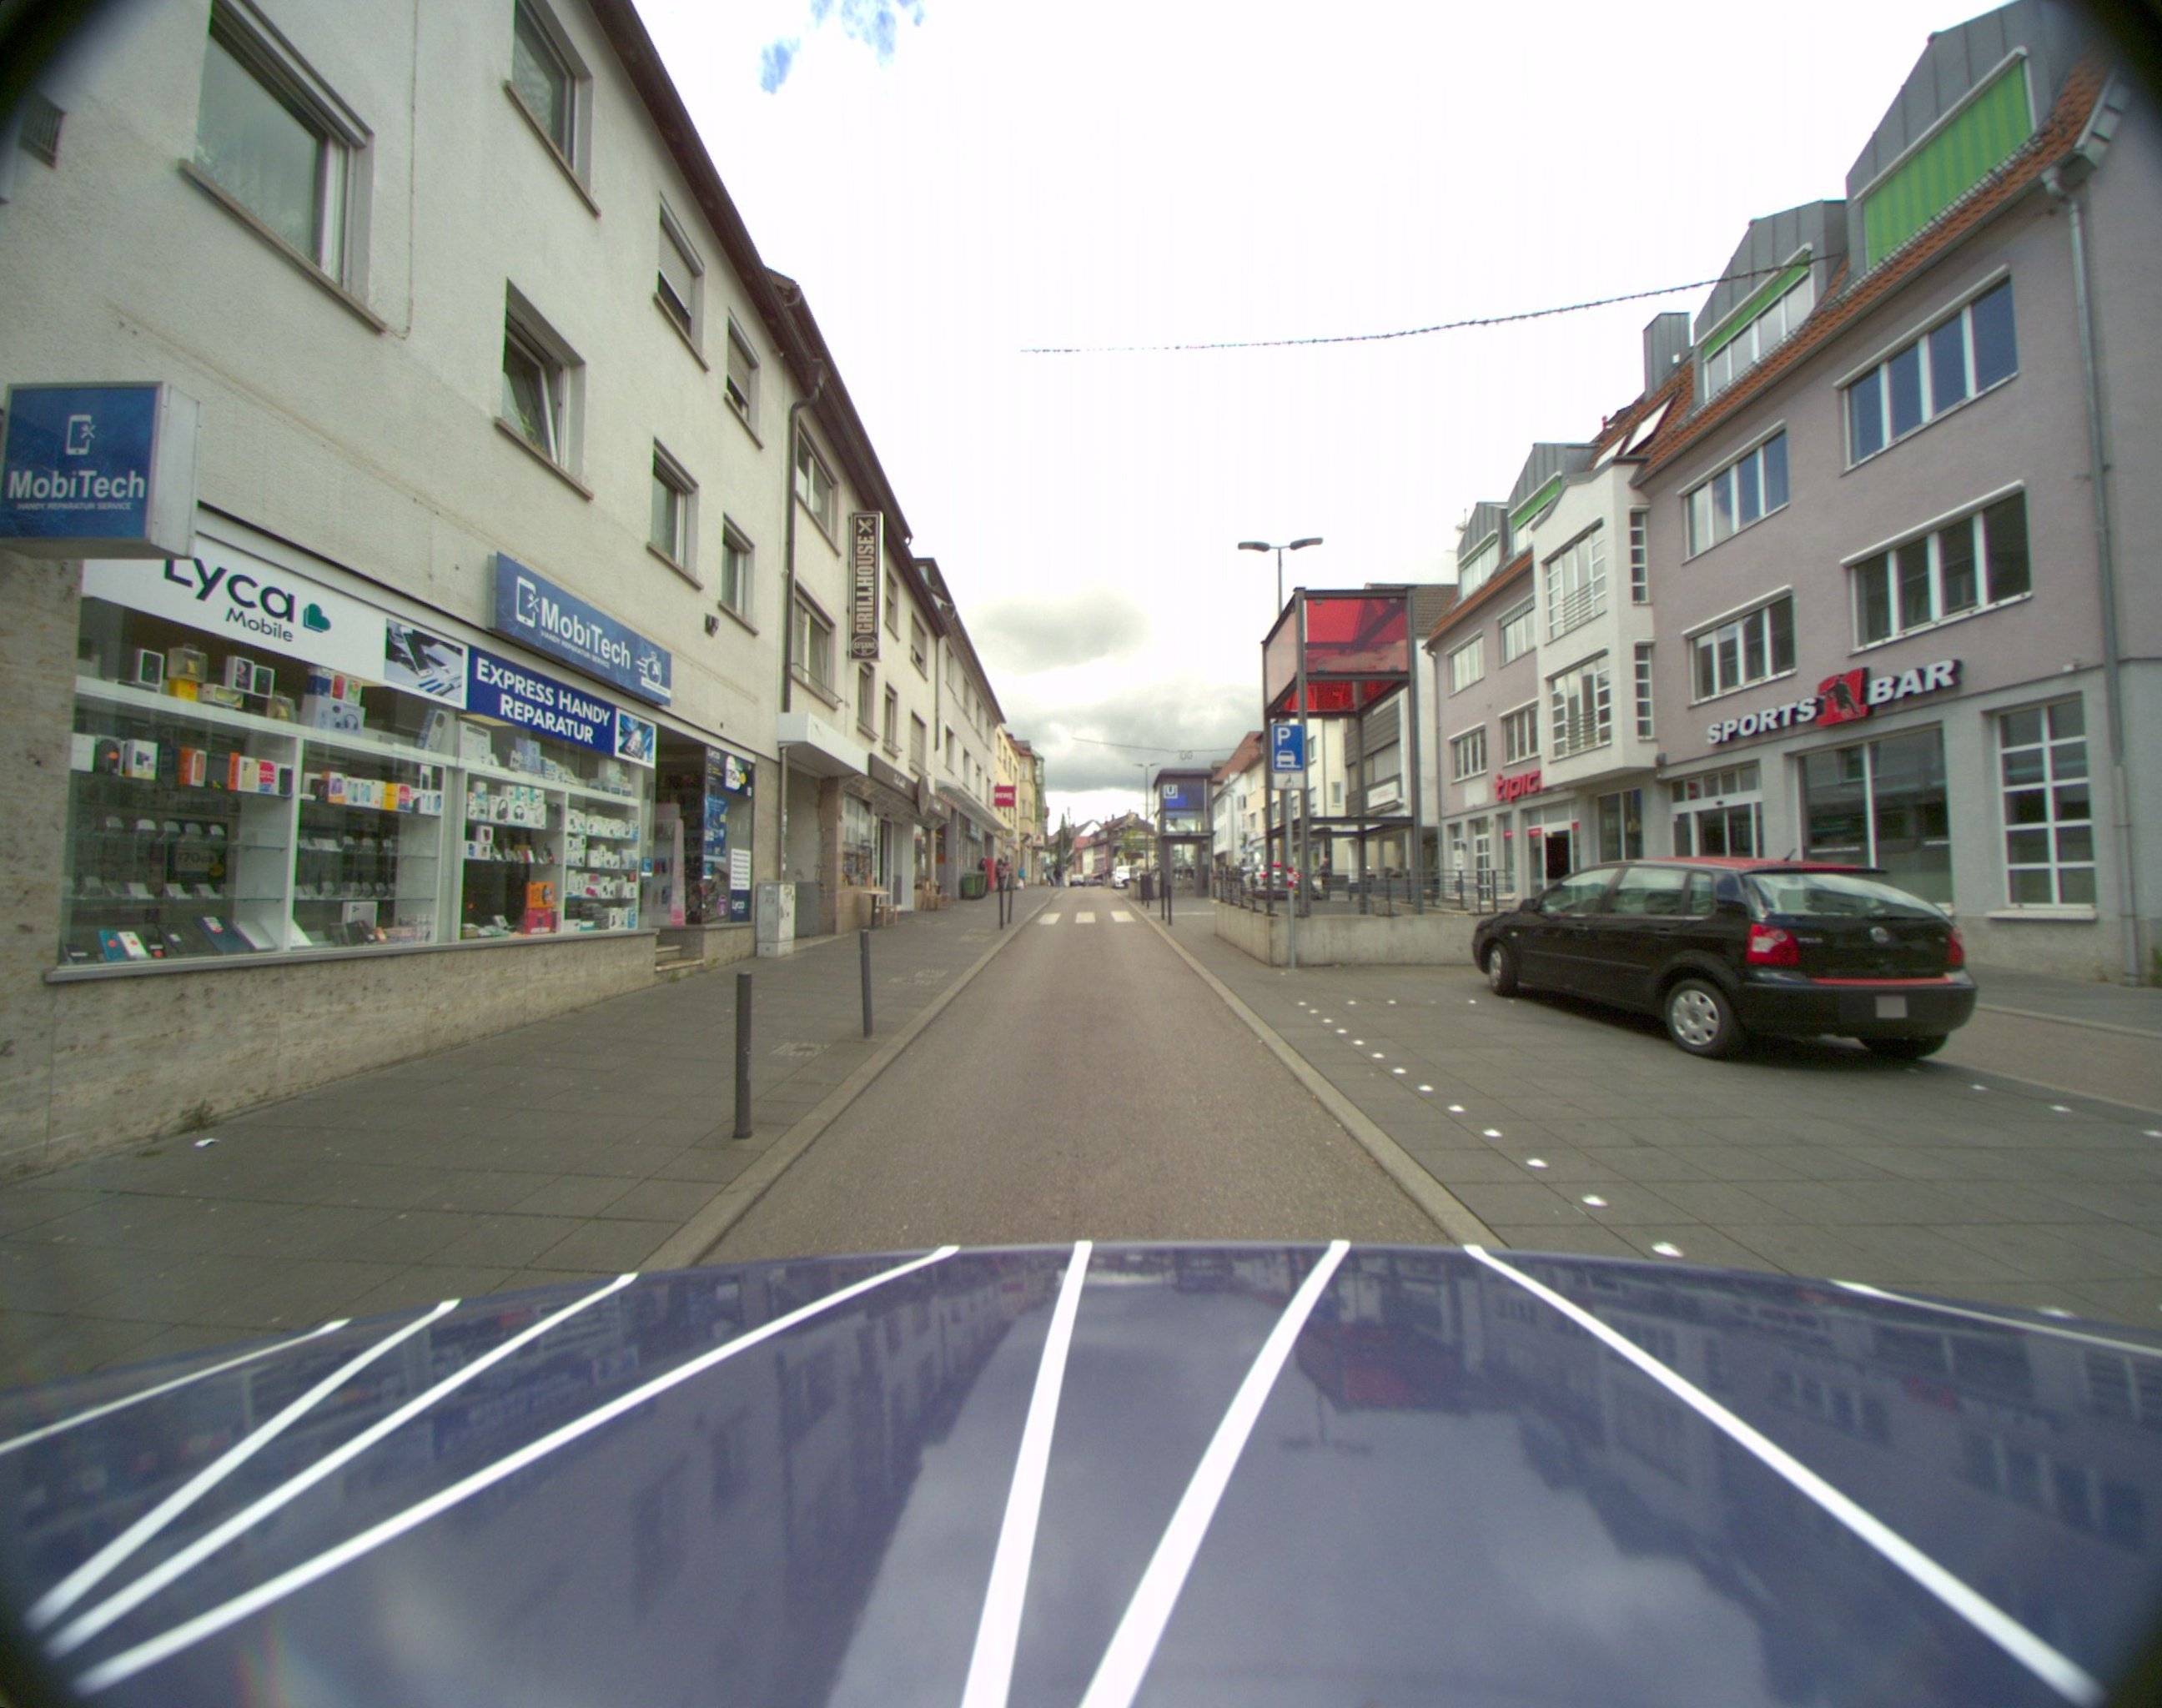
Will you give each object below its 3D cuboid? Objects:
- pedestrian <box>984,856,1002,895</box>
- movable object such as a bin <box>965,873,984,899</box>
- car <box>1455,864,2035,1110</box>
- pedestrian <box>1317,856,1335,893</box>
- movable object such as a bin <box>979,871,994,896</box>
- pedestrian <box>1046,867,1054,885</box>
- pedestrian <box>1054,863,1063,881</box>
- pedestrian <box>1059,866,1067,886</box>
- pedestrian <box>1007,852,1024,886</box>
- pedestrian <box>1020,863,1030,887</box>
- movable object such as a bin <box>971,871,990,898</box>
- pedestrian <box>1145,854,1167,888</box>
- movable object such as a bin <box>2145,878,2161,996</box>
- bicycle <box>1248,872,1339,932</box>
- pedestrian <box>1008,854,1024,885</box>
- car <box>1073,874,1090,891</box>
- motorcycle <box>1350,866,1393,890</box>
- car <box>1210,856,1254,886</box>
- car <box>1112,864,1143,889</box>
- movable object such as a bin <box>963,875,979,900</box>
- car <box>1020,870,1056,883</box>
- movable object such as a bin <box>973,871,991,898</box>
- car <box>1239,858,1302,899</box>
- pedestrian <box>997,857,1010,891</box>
[{"bbox_3d":[-3.965,0.951,34.179,0.628,1.716,0.606,-2,1,-23],"label":"pedestrian"},{"bbox_3d":[-4.173,1.255,29.834,0.670,1.024,0.560,0,0,1],"label":"movable object such as a bin"},{"bbox_3d":[5.105,0.863,6.666,1.573,1.466,3.854,1,0,-3],"label":"car"},{"bbox_3d":[11.541,0.949,35.793,0.592,1.706,0.513,-2,1,1],"label":"pedestrian"},{"bbox_3d":[-4.033,1.259,32.459,0.560,1.050,0.559,0,0,1],"label":"movable object such as a bin"},{"bbox_3d":[-2.783,1.949,68.111,0.657,1.620,0.743,-2,1,-6],"label":"pedestrian"},{"bbox_3d":[-2.017,1.600,67.969,0.657,1.620,0.743,-2,1,-6],"label":"pedestrian"},{"bbox_3d":[-1.500,1.858,63.771,0.657,1.620,0.743,-2,1,-2],"label":"pedestrian"},{"bbox_3d":[-3.618,0.837,42.111,0.629,1.811,0.605,-3,1,-34],"label":"pedestrian"},{"bbox_3d":[-3.812,1.427,51.883,0.627,1.620,0.607,-2,1,-5],"label":"pedestrian"},{"bbox_3d":[-4.035,1.223,30.516,0.652,1.074,0.673,0,0,1],"label":"movable object such as a bin"},{"bbox_3d":[4.263,0.954,43.045,1.097,1.831,0.931,-2,1,1],"label":"pedestrian"},{"bbox_3d":[12.916,0.960,8.568,0.691,1.368,0.808,-1,0,0],"label":"movable object such as a bin"},{"bbox_3d":[4.440,0.998,15.916,1.782,1.216,0.459,0,1,0],"label":"bicycle"},{"bbox_3d":[-3.701,0.897,43.209,0.608,1.716,0.626,-3,1,-29],"label":"pedestrian"},{"bbox_3d":[0.082,3.054,81.785,1.741,1.608,3.843,-2,0,0],"label":"car"},{"bbox_3d":[14.643,1.197,38.319,1.854,1.134,0.634,-2,1,0],"label":"motorcycle"},{"bbox_3d":[8.634,0.934,43.756,1.684,1.562,4.122,-2,0,0],"label":"car"},{"bbox_3d":[2.955,1.418,49.002,1.754,1.452,3.601,-2,0,1],"label":"car"},{"bbox_3d":[-4.229,1.274,29.222,0.568,0.951,0.498,0,0,1],"label":"movable object such as a bin"},{"bbox_3d":[-5.675,2.982,100.232,4.627,1.570,1.777,-1,0,-10],"label":"car"},{"bbox_3d":[-4.049,1.242,31.231,0.652,1.074,0.659,0,0,1],"label":"movable object such as a bin"},{"bbox_3d":[8.144,1.010,33.027,1.684,1.562,4.122,-2,0,0],"label":"car"},{"bbox_3d":[-3.903,1.001,38.260,0.627,1.715,0.607,2,0,-5],"label":"pedestrian"}]
